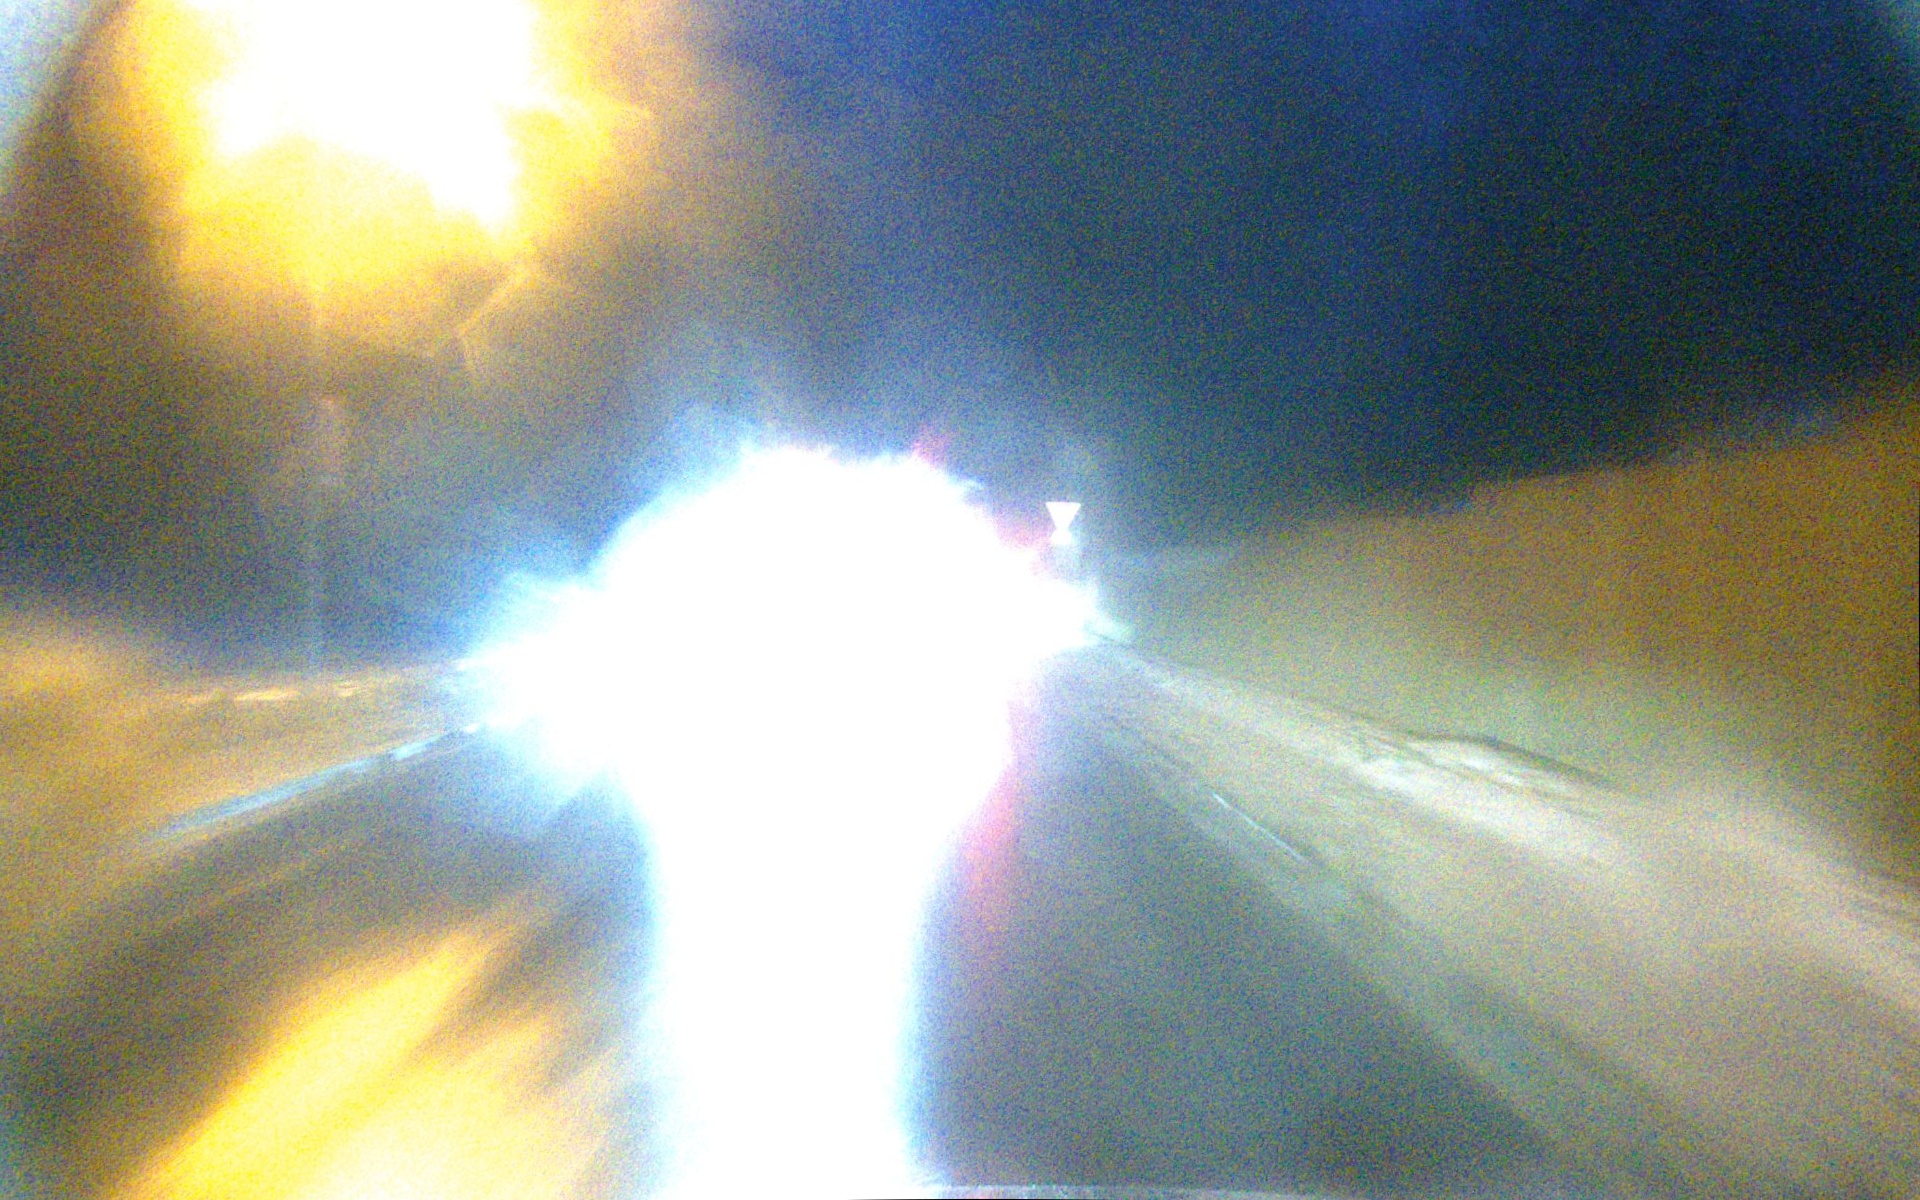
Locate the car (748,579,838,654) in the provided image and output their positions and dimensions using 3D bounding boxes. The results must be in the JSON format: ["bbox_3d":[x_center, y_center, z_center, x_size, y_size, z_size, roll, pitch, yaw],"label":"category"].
[{"bbox_3d":[-3.665,0.351,36.757,1.697,1.545,4.014,1,0,-2],"label":"car"}]

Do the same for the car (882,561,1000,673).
[{"bbox_3d":[-0.317,0.285,27.498,1.765,1.657,3.614,3,-1,-1],"label":"car"}]
